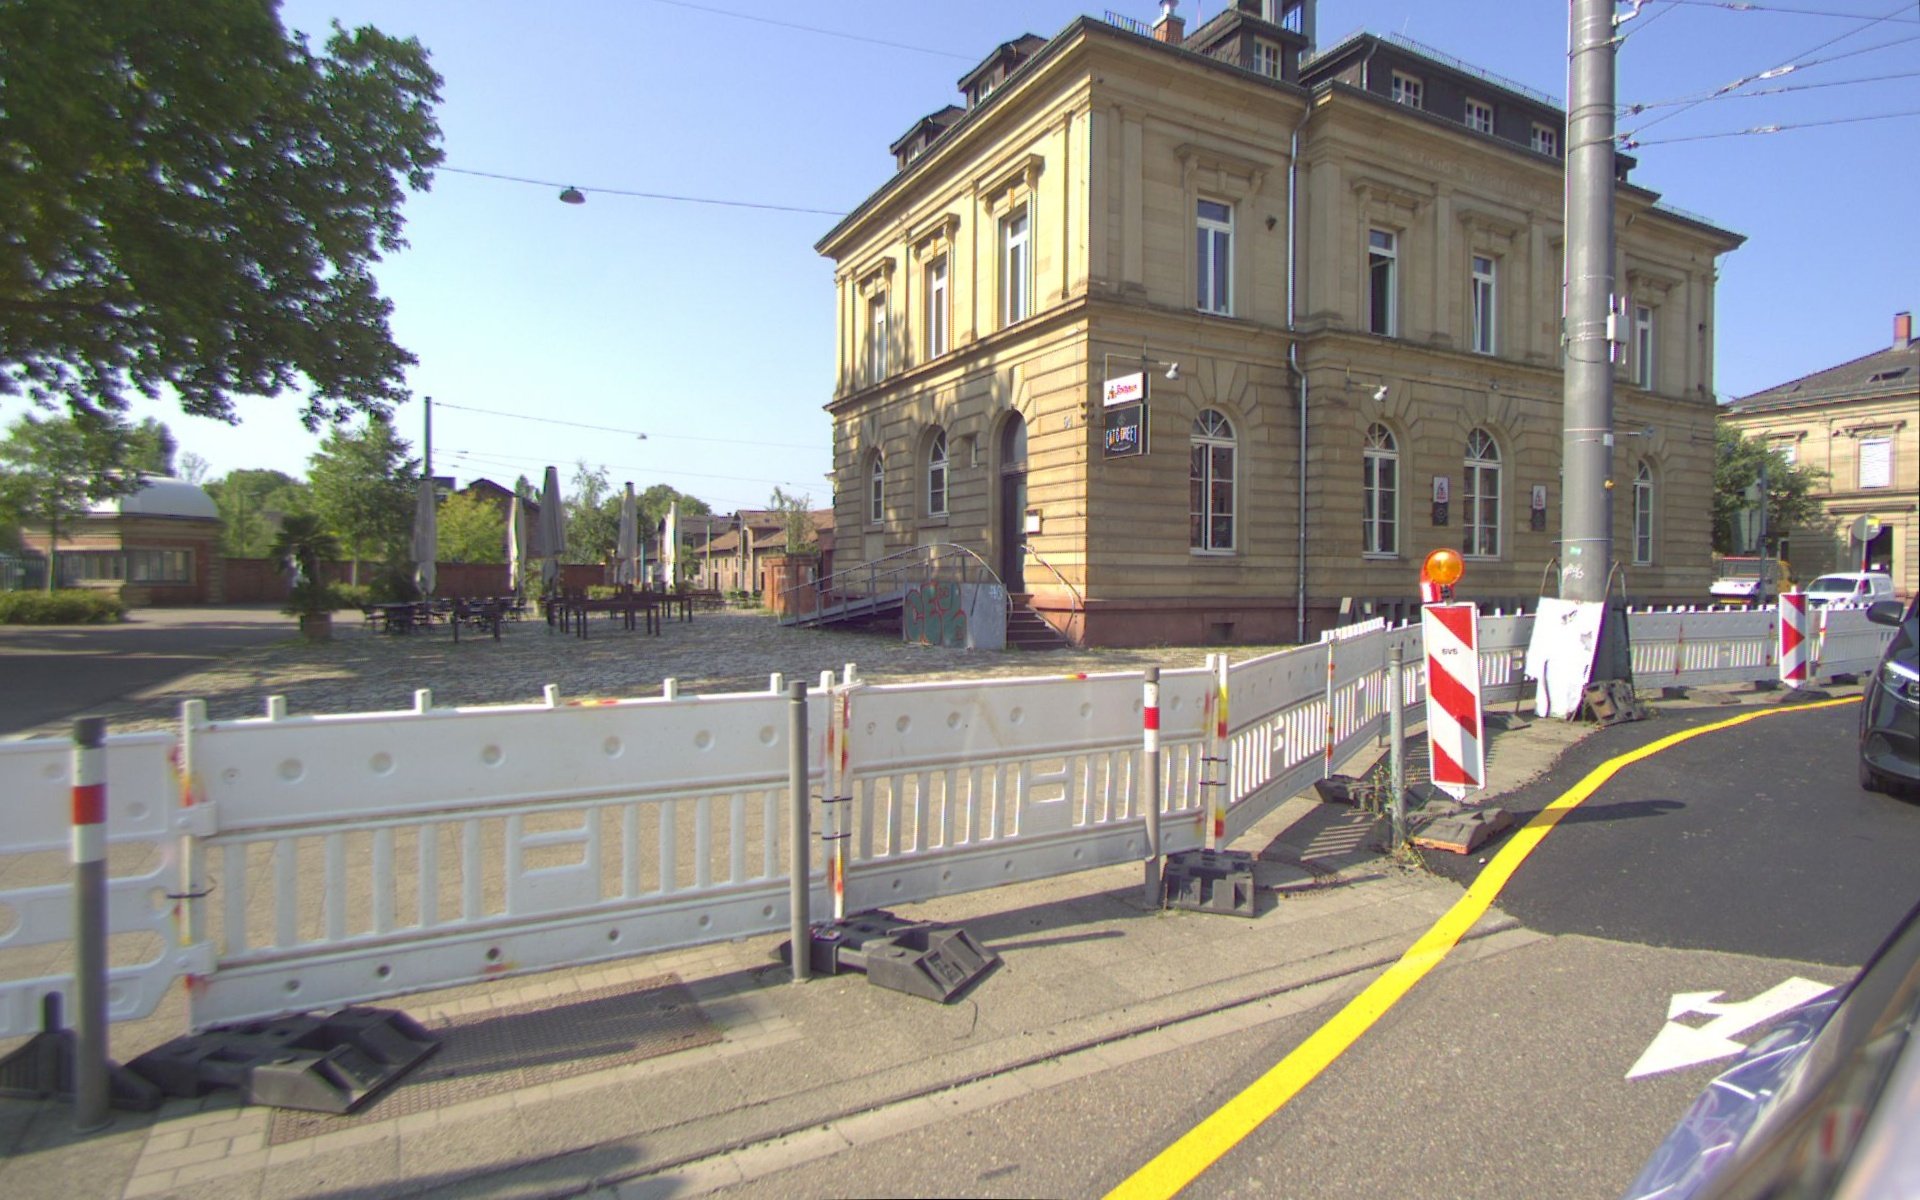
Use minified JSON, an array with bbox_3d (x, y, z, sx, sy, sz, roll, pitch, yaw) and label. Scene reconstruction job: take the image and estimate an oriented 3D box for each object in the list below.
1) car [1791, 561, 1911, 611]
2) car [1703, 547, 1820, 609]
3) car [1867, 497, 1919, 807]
[{"bbox_3d":[34.051,-0.550,38.692,4.137,1.805,1.914,0,2,-25],"label":"car"},{"bbox_3d":[34.011,-0.947,42.900,5.382,2.453,2.267,-1,1,-33],"label":"car"},{"bbox_3d":[7.996,0.368,6.952,4.103,1.908,1.854,-1,5,-38],"label":"car"}]
